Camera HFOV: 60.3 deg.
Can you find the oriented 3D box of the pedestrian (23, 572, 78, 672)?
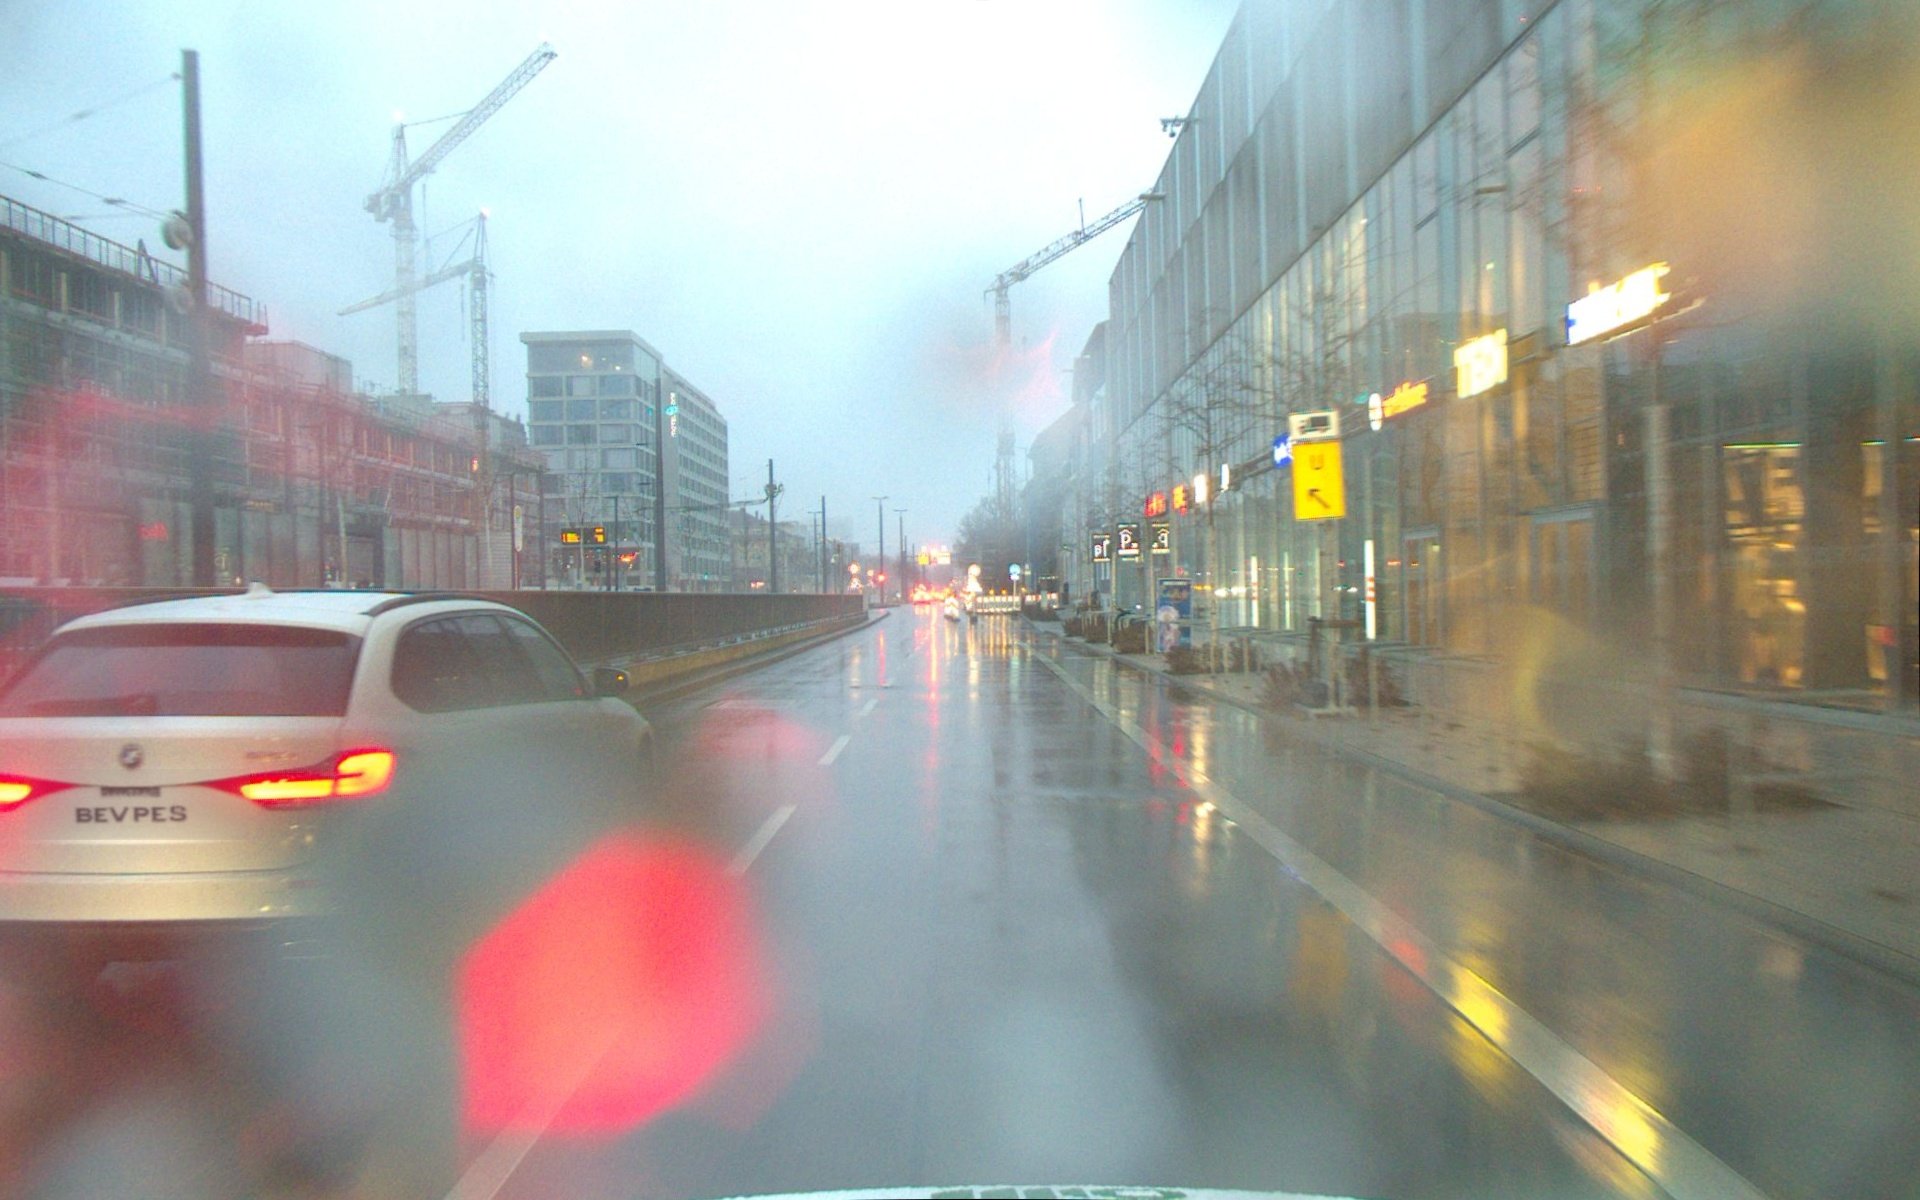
[{"bbox_3d":[-14.816,0.354,26.949,0.532,1.594,0.582,0,0,19],"label":"pedestrian"}]

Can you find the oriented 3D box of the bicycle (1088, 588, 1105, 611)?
[{"bbox_3d":[7.745,-0.009,94.033,0.669,1.243,1.905,-4,0,-1],"label":"bicycle"}]

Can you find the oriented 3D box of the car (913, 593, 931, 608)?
[{"bbox_3d":[-4.161,0.036,182.955,1.862,1.670,4.000,0,0,0],"label":"car"}]

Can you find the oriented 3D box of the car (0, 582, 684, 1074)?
[{"bbox_3d":[-2.606,0.687,7.505,1.814,1.491,4.947,0,0,1],"label":"car"}]

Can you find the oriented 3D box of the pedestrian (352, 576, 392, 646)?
[{"bbox_3d":[-13.524,0.251,38.051,0.571,1.577,0.741,0,0,10],"label":"pedestrian"}]

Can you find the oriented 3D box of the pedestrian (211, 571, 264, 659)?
[{"bbox_3d":[-13.203,0.275,30.225,0.571,1.577,0.741,0,0,10],"label":"pedestrian"}]
